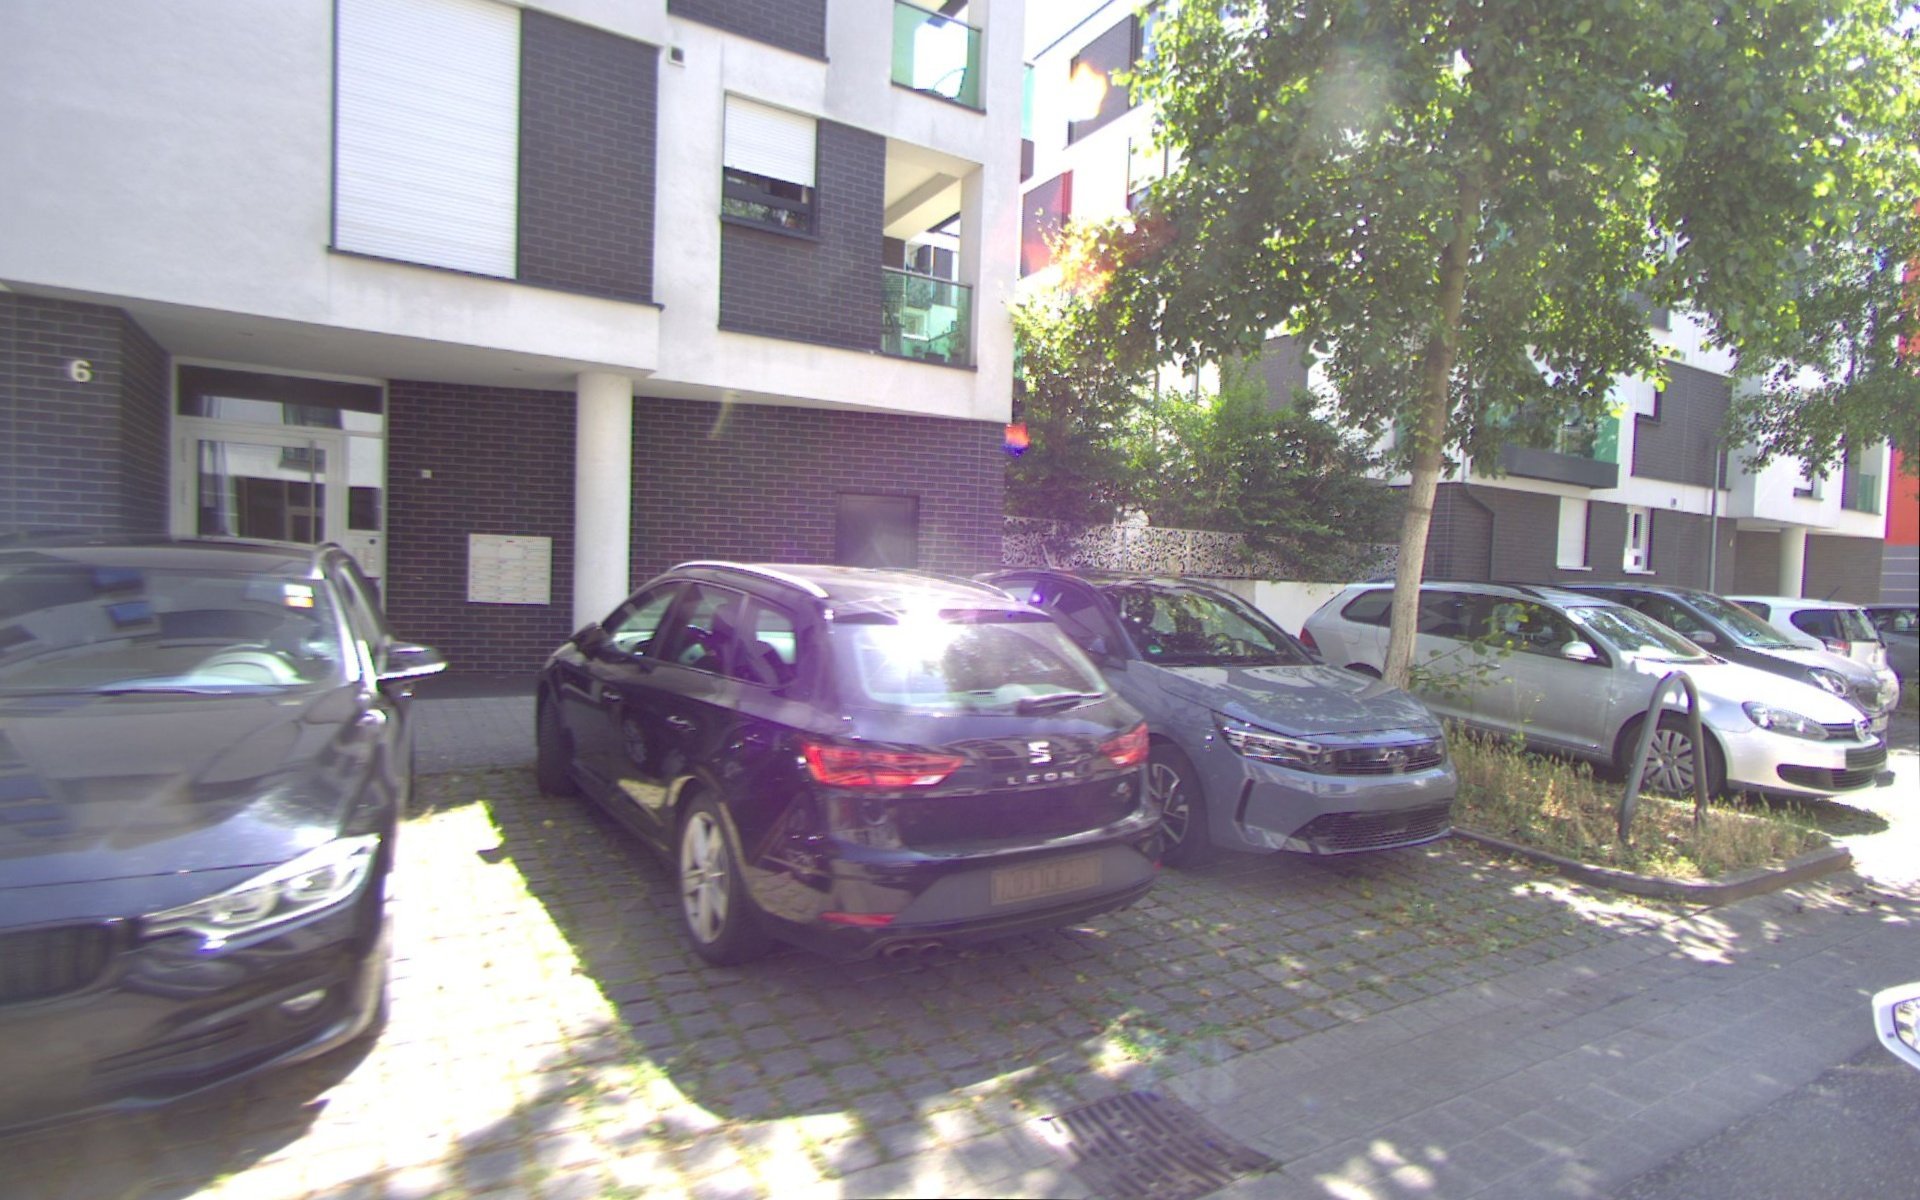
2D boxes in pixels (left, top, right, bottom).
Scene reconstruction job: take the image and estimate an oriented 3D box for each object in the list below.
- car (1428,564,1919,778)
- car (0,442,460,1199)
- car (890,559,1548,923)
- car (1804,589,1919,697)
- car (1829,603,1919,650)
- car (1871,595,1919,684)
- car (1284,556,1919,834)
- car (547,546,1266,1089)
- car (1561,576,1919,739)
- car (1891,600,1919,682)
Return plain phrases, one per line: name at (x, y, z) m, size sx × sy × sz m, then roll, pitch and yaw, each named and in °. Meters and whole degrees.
car at (7.047, 0.545, 10.220) m, size 1.803 × 1.607 × 3.682 m, roll 1°, pitch 3°, yaw -35°
car at (-2.978, 0.399, 3.712) m, size 1.894 × 1.673 × 3.969 m, roll 1°, pitch 3°, yaw -28°
car at (1.252, 0.554, 6.512) m, size 1.874 × 1.441 × 3.968 m, roll 1°, pitch 4°, yaw -29°
car at (15.714, 0.739, 15.298) m, size 1.850 × 1.574 × 3.917 m, roll 1°, pitch 3°, yaw -30°
car at (32.065, 0.917, 33.294) m, size 1.916 × 1.402 × 4.545 m, roll -1°, pitch 3°, yaw -32°
car at (18.210, 0.819, 16.695) m, size 1.938 × 1.506 × 4.154 m, roll 2°, pitch 2°, yaw -34°
car at (5.199, 0.593, 8.642) m, size 1.978 × 1.733 × 4.336 m, roll 1°, pitch 0°, yaw -32°
car at (-0.689, 0.548, 4.971) m, size 1.757 × 1.465 × 3.949 m, roll 1°, pitch 3°, yaw -34°
car at (9.341, 0.585, 12.191) m, size 1.827 × 1.520 × 2.916 m, roll 1°, pitch 4°, yaw -31°
car at (20.161, 0.854, 18.552) m, size 1.778 × 1.576 × 3.970 m, roll 1°, pitch 1°, yaw -28°
